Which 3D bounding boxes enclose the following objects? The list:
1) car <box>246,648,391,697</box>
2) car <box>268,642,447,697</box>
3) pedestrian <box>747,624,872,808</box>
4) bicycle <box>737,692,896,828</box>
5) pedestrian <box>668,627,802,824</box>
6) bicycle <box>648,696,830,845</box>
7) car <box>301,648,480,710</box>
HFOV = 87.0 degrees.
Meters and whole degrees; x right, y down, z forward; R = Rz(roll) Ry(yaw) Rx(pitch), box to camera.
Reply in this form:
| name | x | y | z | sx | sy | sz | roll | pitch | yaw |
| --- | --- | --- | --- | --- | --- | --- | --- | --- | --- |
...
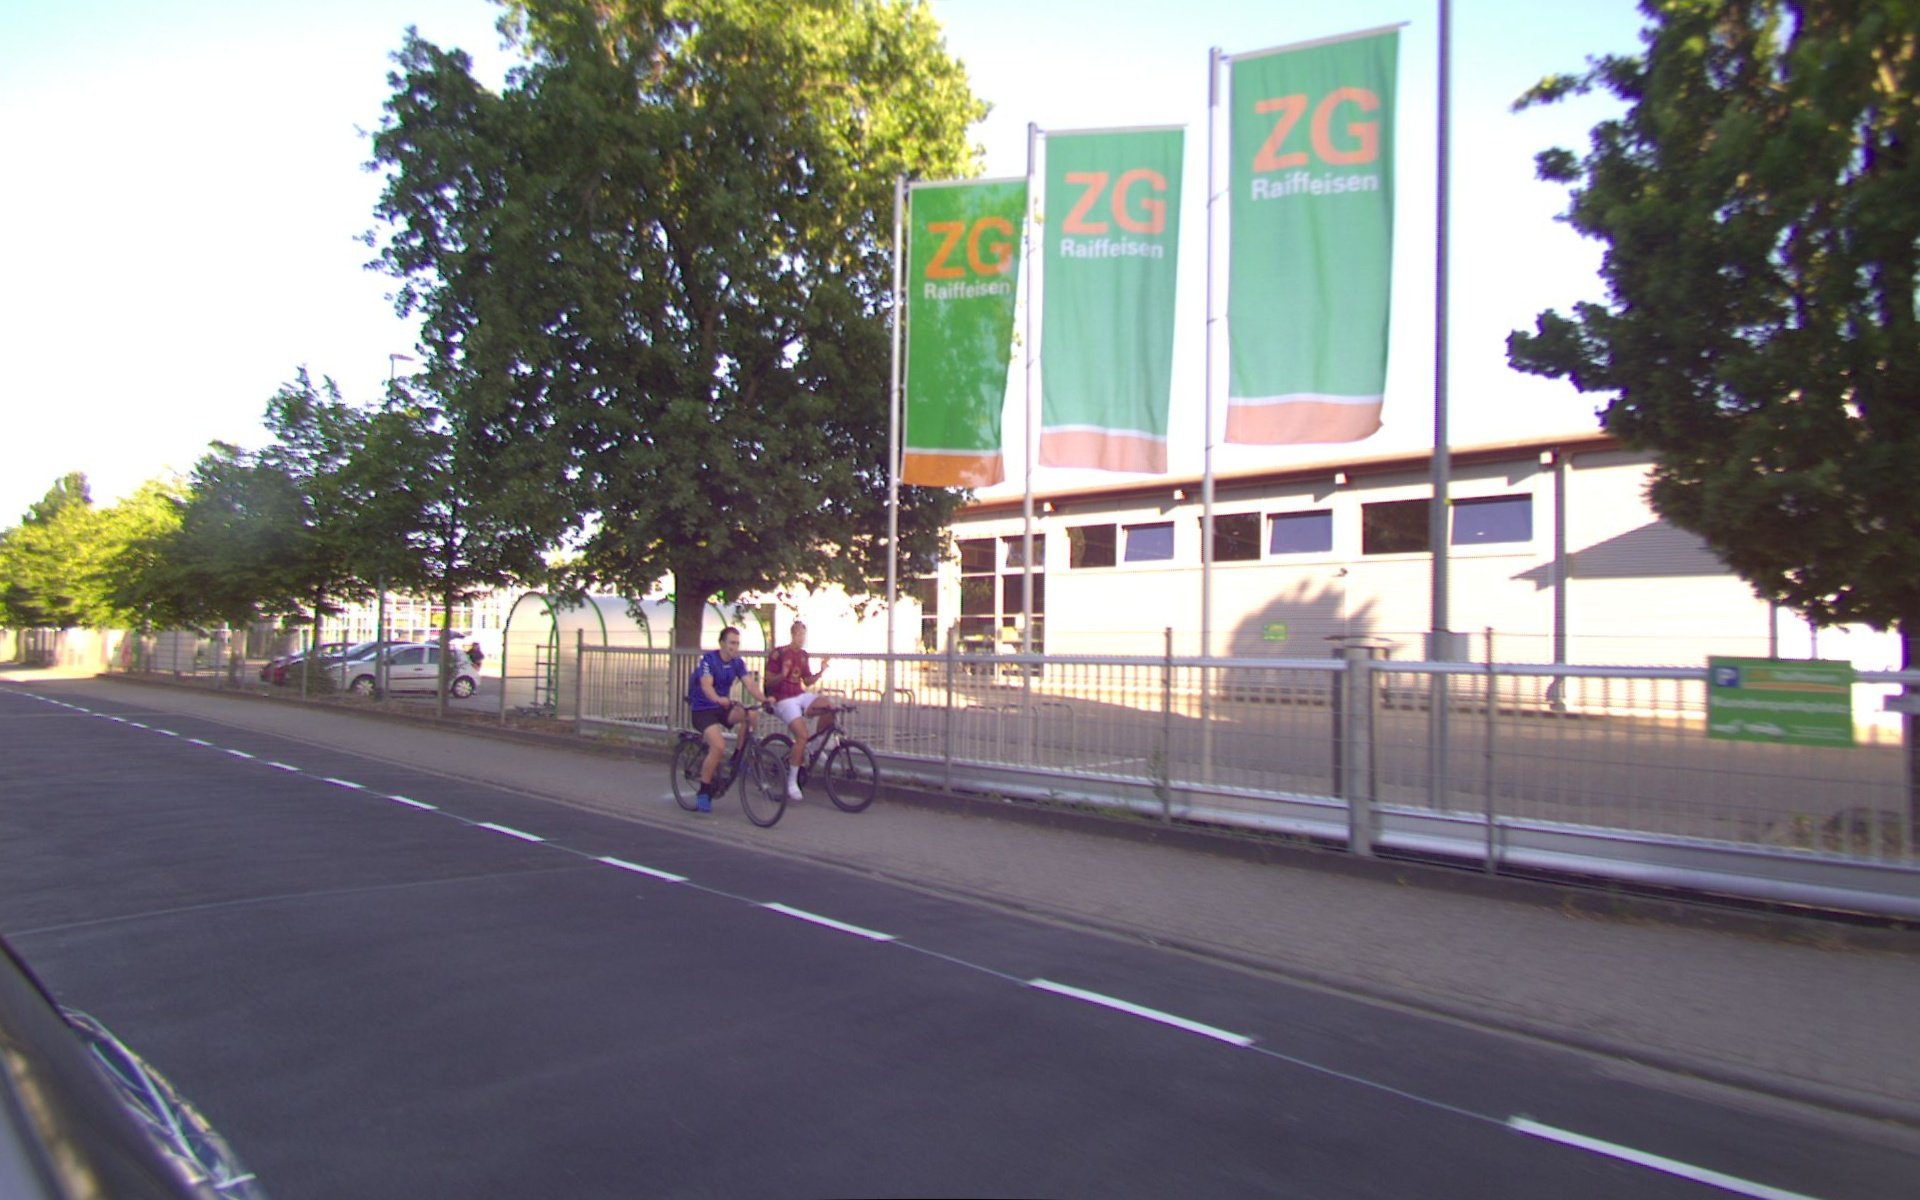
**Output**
| name | x | y | z | sx | sy | sz | roll | pitch | yaw |
| --- | --- | --- | --- | --- | --- | --- | --- | --- | --- |
| car | -21.534 | 2.453 | 34.072 | 1.804 | 1.462 | 3.689 | -2 | -7 | 39 |
| car | -18.231 | 2.131 | 30.765 | 2.050 | 1.462 | 4.144 | -2 | -7 | 39 |
| pedestrian | -1.514 | 1.124 | 10.186 | 1.057 | 1.734 | 0.713 | -2 | -4 | 41 |
| bicycle | -1.463 | 1.539 | 10.068 | 1.868 | 1.157 | 0.465 | -2 | -3 | 41 |
| pedestrian | -2.122 | 1.132 | 9.541 | 1.057 | 1.734 | 0.713 | -2 | -4 | 41 |
| bicycle | -2.113 | 1.522 | 9.447 | 2.200 | 1.157 | 0.441 | -2 | -3 | 41 |
| car | -15.578 | 2.194 | 27.837 | 1.785 | 1.523 | 3.849 | -2 | -7 | 40 |
